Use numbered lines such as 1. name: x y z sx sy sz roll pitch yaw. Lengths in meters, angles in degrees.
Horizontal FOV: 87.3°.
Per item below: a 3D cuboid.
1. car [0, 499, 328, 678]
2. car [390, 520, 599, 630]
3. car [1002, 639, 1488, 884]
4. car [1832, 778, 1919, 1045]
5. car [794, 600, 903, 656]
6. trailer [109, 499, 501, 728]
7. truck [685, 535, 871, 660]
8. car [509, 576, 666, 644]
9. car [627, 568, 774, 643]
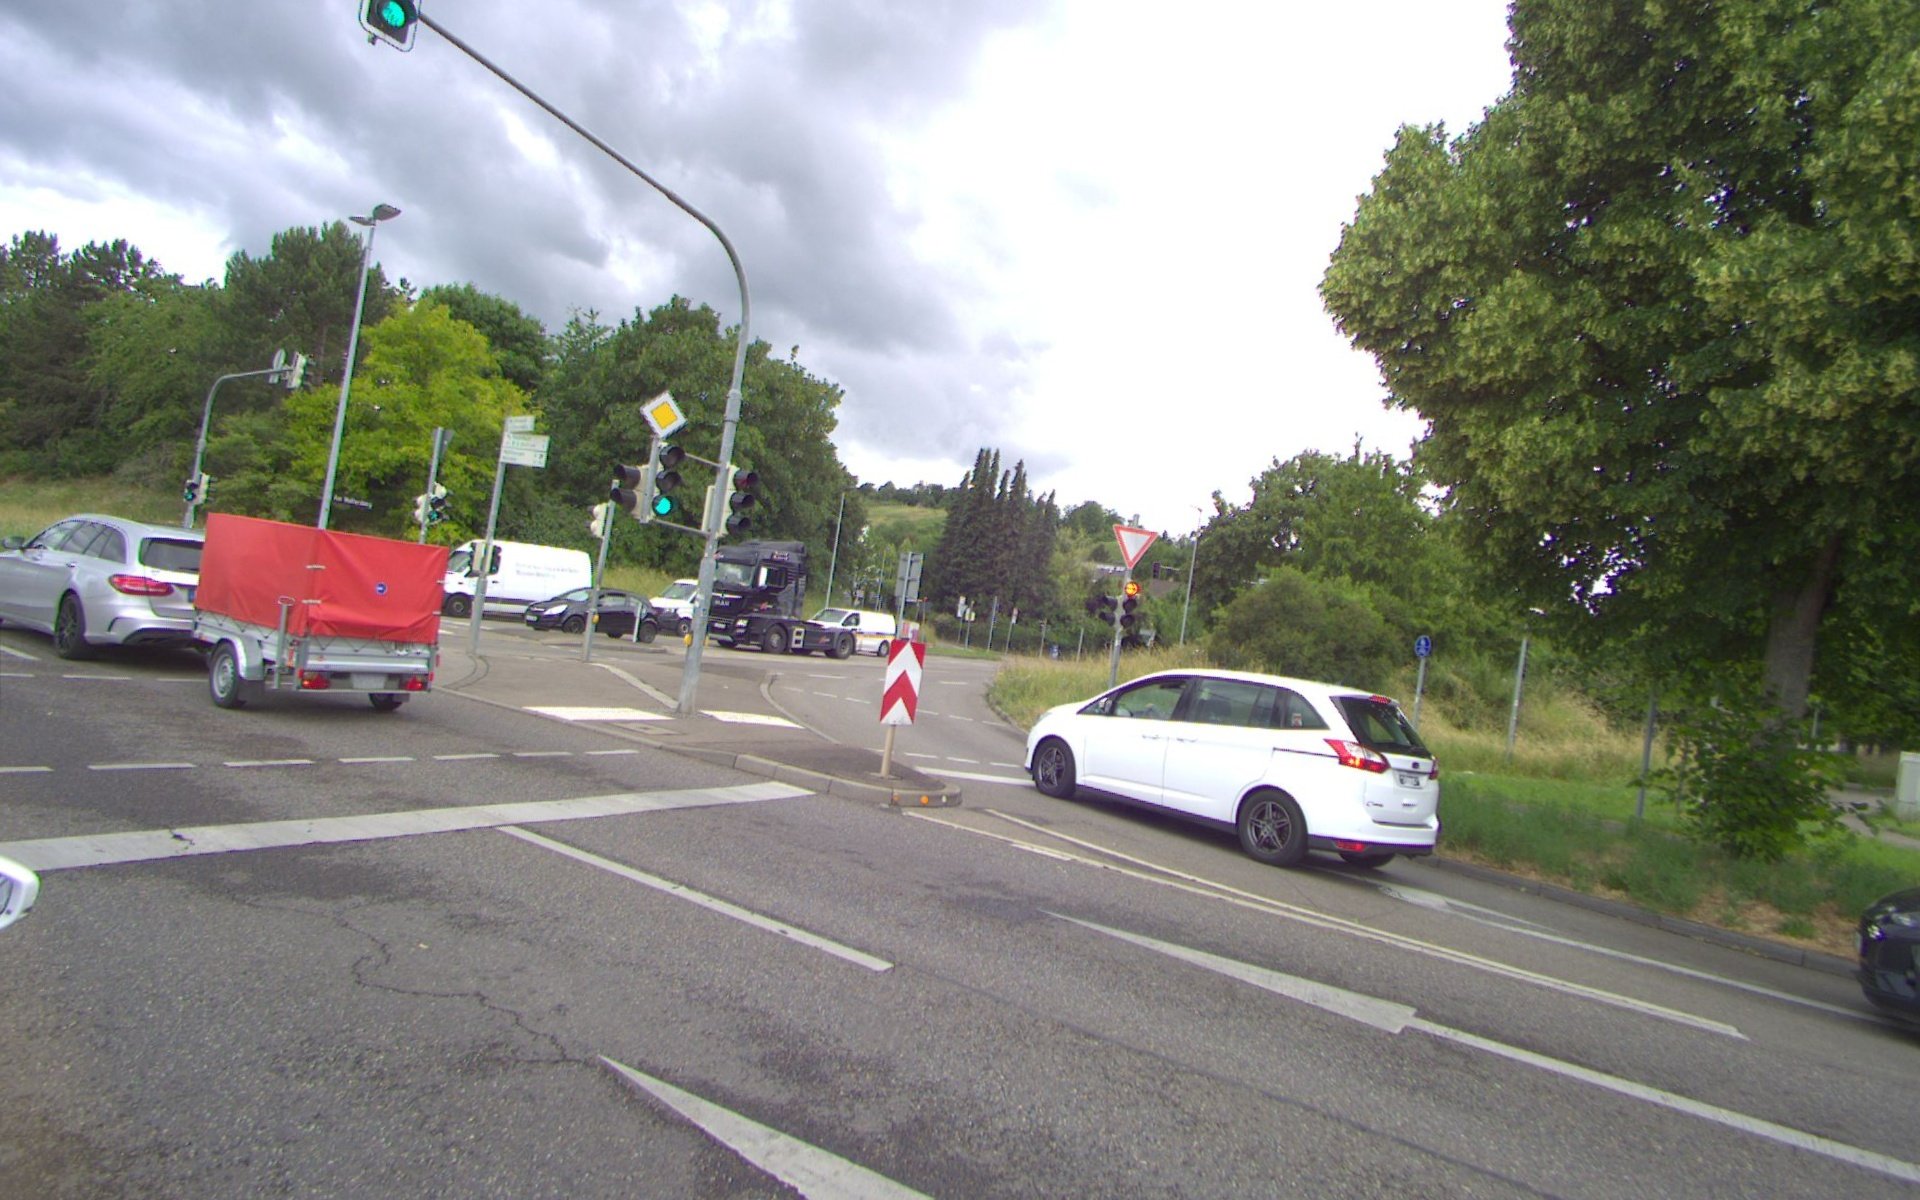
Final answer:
1. car: -9.241 -0.184 11.226 4.383 1.438 1.782 7 -1 31
2. car: -15.339 -0.736 33.591 2.100 2.814 5.903 7 -1 32
3. car: 2.615 1.491 10.233 1.772 1.611 4.414 12 -5 -37
4. car: 7.131 2.038 5.354 3.562 1.445 1.622 6 -5 39
5. car: -4.811 1.279 44.098 1.999 1.918 4.862 7 -1 31
6. trailer: -6.092 0.116 9.361 2.992 1.635 1.768 7 -1 30
7. truck: -6.214 0.025 35.334 2.682 3.580 6.061 7 -1 32
8. car: -10.609 0.336 28.923 1.703 1.453 3.927 7 -1 31
9. car: -10.428 0.290 40.899 2.100 2.316 5.709 7 -1 32
